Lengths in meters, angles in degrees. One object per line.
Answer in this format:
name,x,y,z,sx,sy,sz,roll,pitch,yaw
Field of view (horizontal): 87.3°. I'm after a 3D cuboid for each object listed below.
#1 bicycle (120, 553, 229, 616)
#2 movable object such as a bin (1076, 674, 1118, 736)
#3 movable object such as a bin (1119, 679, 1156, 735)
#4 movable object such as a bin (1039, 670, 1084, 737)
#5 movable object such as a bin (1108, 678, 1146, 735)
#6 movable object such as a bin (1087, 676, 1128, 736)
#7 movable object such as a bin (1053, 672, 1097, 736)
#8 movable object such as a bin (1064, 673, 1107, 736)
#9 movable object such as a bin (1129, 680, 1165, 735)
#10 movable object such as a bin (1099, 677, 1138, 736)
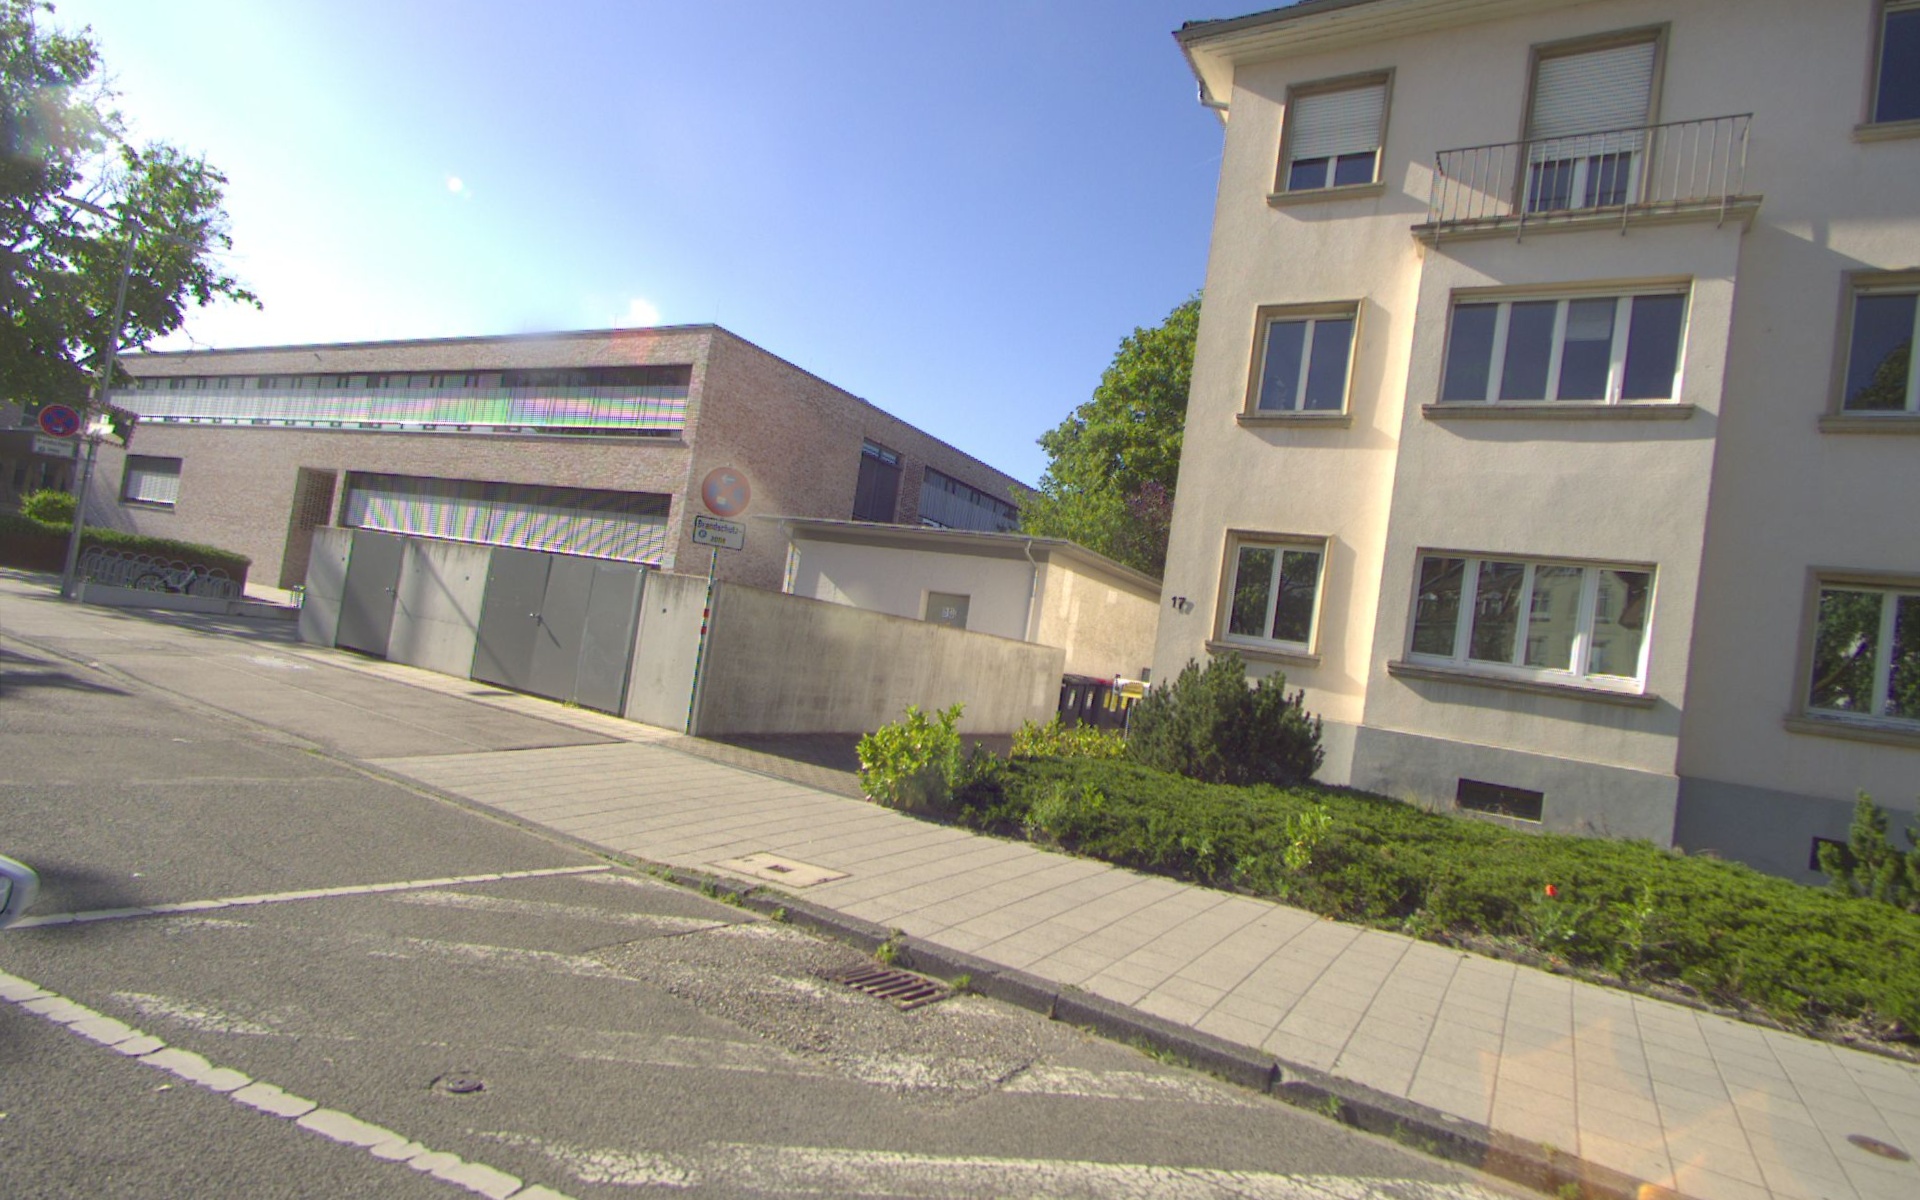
bicycle,-16.965,-0.318,21.782,0.491,1.040,1.675,7,-5,29
movable object such as a bin,2.924,2.246,21.473,0.583,1.226,0.489,7,-1,31
movable object such as a bin,4.173,2.518,23.621,0.583,1.226,0.489,7,-1,31
movable object such as a bin,2.017,2.052,19.979,0.583,1.226,0.489,7,-1,31
movable object such as a bin,3.839,2.447,23.076,0.583,1.226,0.489,7,-1,31
movable object such as a bin,3.225,2.311,21.968,0.583,1.226,0.489,7,-1,31
movable object such as a bin,2.344,2.121,20.495,0.583,1.226,0.489,7,-1,31
movable object such as a bin,2.617,2.180,20.964,0.583,1.226,0.489,7,-1,31
movable object such as a bin,4.496,2.588,24.172,0.583,1.226,0.489,7,-1,31
movable object such as a bin,3.554,2.385,22.588,0.583,1.226,0.489,7,-1,31
